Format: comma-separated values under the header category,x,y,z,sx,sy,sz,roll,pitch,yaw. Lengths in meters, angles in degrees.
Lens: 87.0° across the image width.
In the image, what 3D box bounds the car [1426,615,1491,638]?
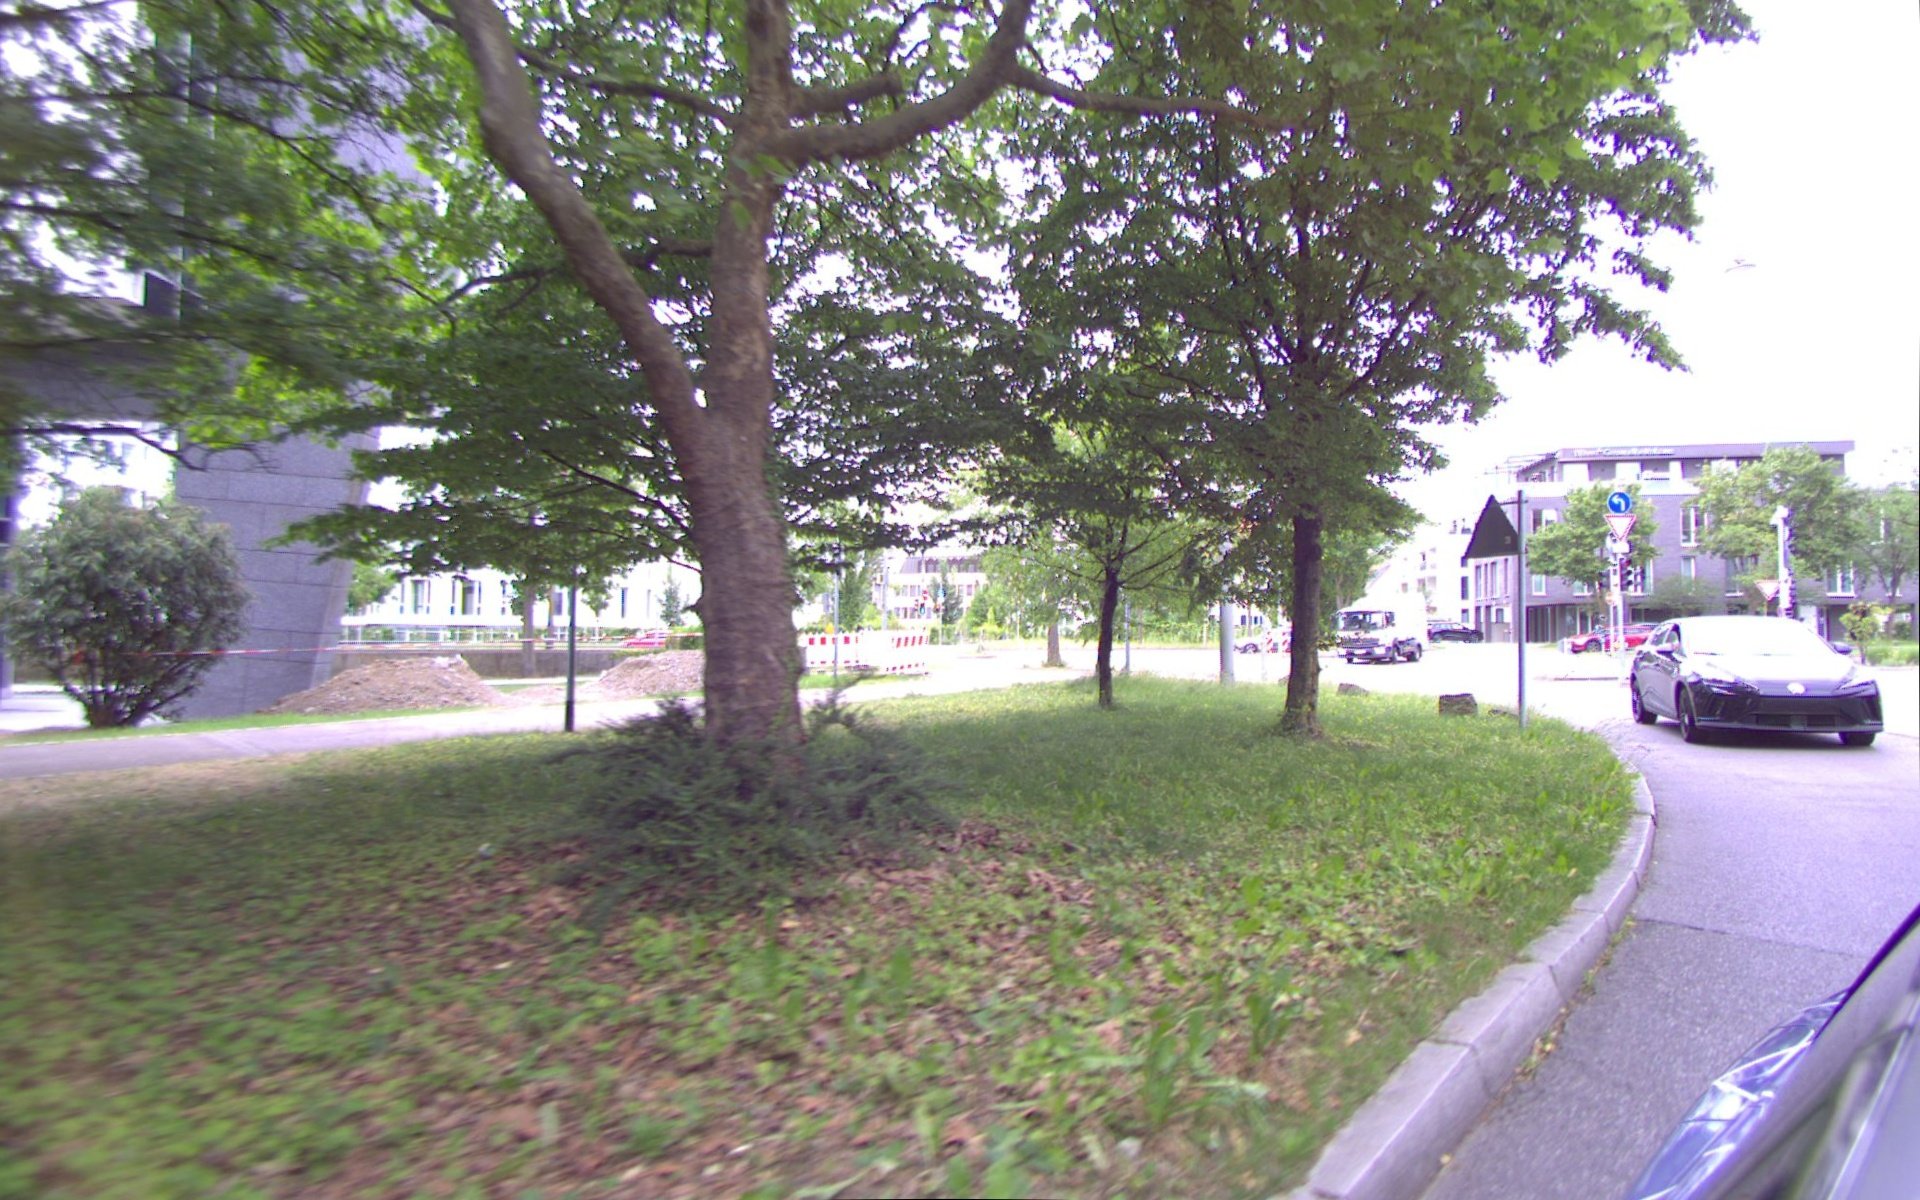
category,x,y,z,sx,sy,sz,roll,pitch,yaw
car,38.217,2.034,77.649,4.061,1.622,1.992,1,-4,12

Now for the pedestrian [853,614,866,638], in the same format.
category,x,y,z,sx,sy,sz,roll,pitch,yaw
pedestrian,-7.043,1.831,70.645,0.703,1.648,0.559,-4,-5,33

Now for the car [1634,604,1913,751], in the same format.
category,x,y,z,sx,sy,sz,roll,pitch,yaw
car,10.051,0.831,12.879,1.782,1.502,3.986,0,0,24

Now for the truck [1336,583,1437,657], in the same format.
category,x,y,z,sx,sy,sz,roll,pitch,yaw
truck,19.925,0.879,47.094,2.427,3.236,6.369,-1,-1,41

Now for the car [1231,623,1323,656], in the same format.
category,x,y,z,sx,sy,sz,roll,pitch,yaw
car,17.966,2.254,57.487,4.520,1.717,1.997,-2,-4,4

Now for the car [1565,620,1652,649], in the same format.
category,x,y,z,sx,sy,sz,roll,pitch,yaw
car,36.800,1.955,57.543,3.855,1.506,1.758,0,-4,21

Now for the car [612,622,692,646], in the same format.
category,x,y,z,sx,sy,sz,roll,pitch,yaw
car,-18.833,2.083,61.986,4.275,1.442,1.998,0,-2,2

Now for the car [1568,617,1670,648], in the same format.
category,x,y,z,sx,sy,sz,roll,pitch,yaw
car,35.947,1.773,55.310,4.298,1.506,1.823,1,-4,4

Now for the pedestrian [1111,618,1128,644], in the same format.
category,x,y,z,sx,sy,sz,roll,pitch,yaw
pedestrian,10.874,2.098,68.993,0.983,1.718,0.608,-1,-4,-6
